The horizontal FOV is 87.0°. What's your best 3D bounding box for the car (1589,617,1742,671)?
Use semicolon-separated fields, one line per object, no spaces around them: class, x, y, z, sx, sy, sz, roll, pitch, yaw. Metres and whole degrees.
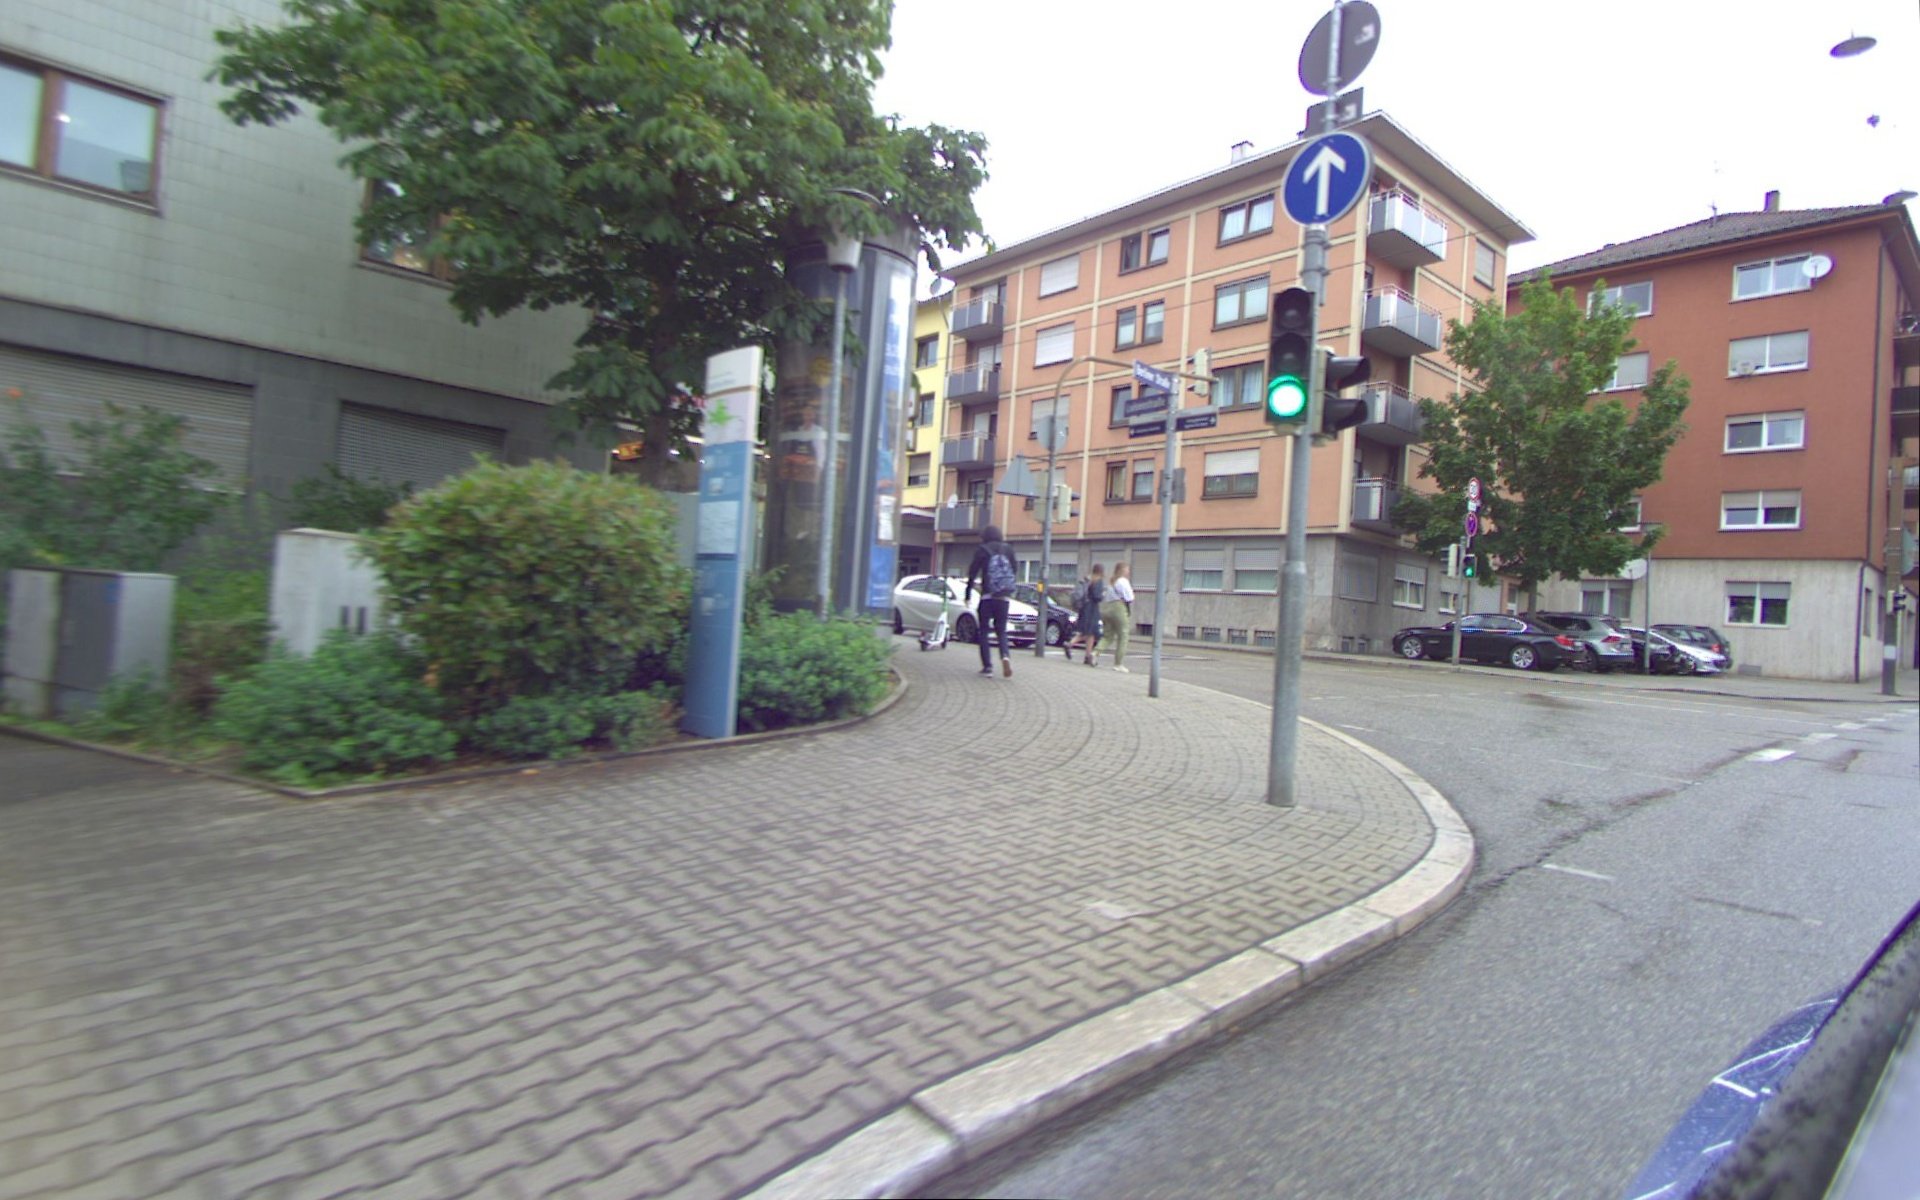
car;23.810;1.454;34.320;1.639;1.602;4.007;5;-3;-22

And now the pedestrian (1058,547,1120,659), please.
pedestrian;2.062;0.056;16.122;0.748;1.667;0.707;6;-1;14

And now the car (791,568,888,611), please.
car;-4.679;-0.411;38.877;1.816;1.508;3.996;4;-1;-39

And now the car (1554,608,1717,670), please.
car;21.862;1.210;32.913;1.763;1.719;4.007;5;-2;-25

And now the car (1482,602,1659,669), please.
car;17.802;1.003;29.623;1.957;1.681;3.996;4;-1;-40

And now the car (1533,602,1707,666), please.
car;20.172;1.015;31.096;1.952;1.741;4.005;3;-1;-29

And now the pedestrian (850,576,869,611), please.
pedestrian;-4.798;-0.293;48.348;0.472;1.585;0.557;6;0;-40

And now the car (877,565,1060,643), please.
car;0.096;0.049;22.129;1.816;1.532;3.996;3;0;-39

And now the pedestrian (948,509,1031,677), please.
pedestrian;0.365;-0.090;11.846;0.742;1.840;0.915;5;1;7

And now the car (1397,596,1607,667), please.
car;15.014;0.837;28.308;1.816;1.574;4.794;4;1;-38

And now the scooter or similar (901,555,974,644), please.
scooter or similar;-0.314;0.017;15.221;0.495;1.206;1.550;3;-3;20

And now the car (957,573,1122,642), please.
car;1.899;0.156;25.164;1.816;1.508;3.996;3;0;-39

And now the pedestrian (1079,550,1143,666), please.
pedestrian;2.321;0.130;15.526;0.748;1.667;0.707;6;-1;14

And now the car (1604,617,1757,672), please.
car;25.744;1.553;36.283;1.959;1.728;4.004;5;-3;-28
